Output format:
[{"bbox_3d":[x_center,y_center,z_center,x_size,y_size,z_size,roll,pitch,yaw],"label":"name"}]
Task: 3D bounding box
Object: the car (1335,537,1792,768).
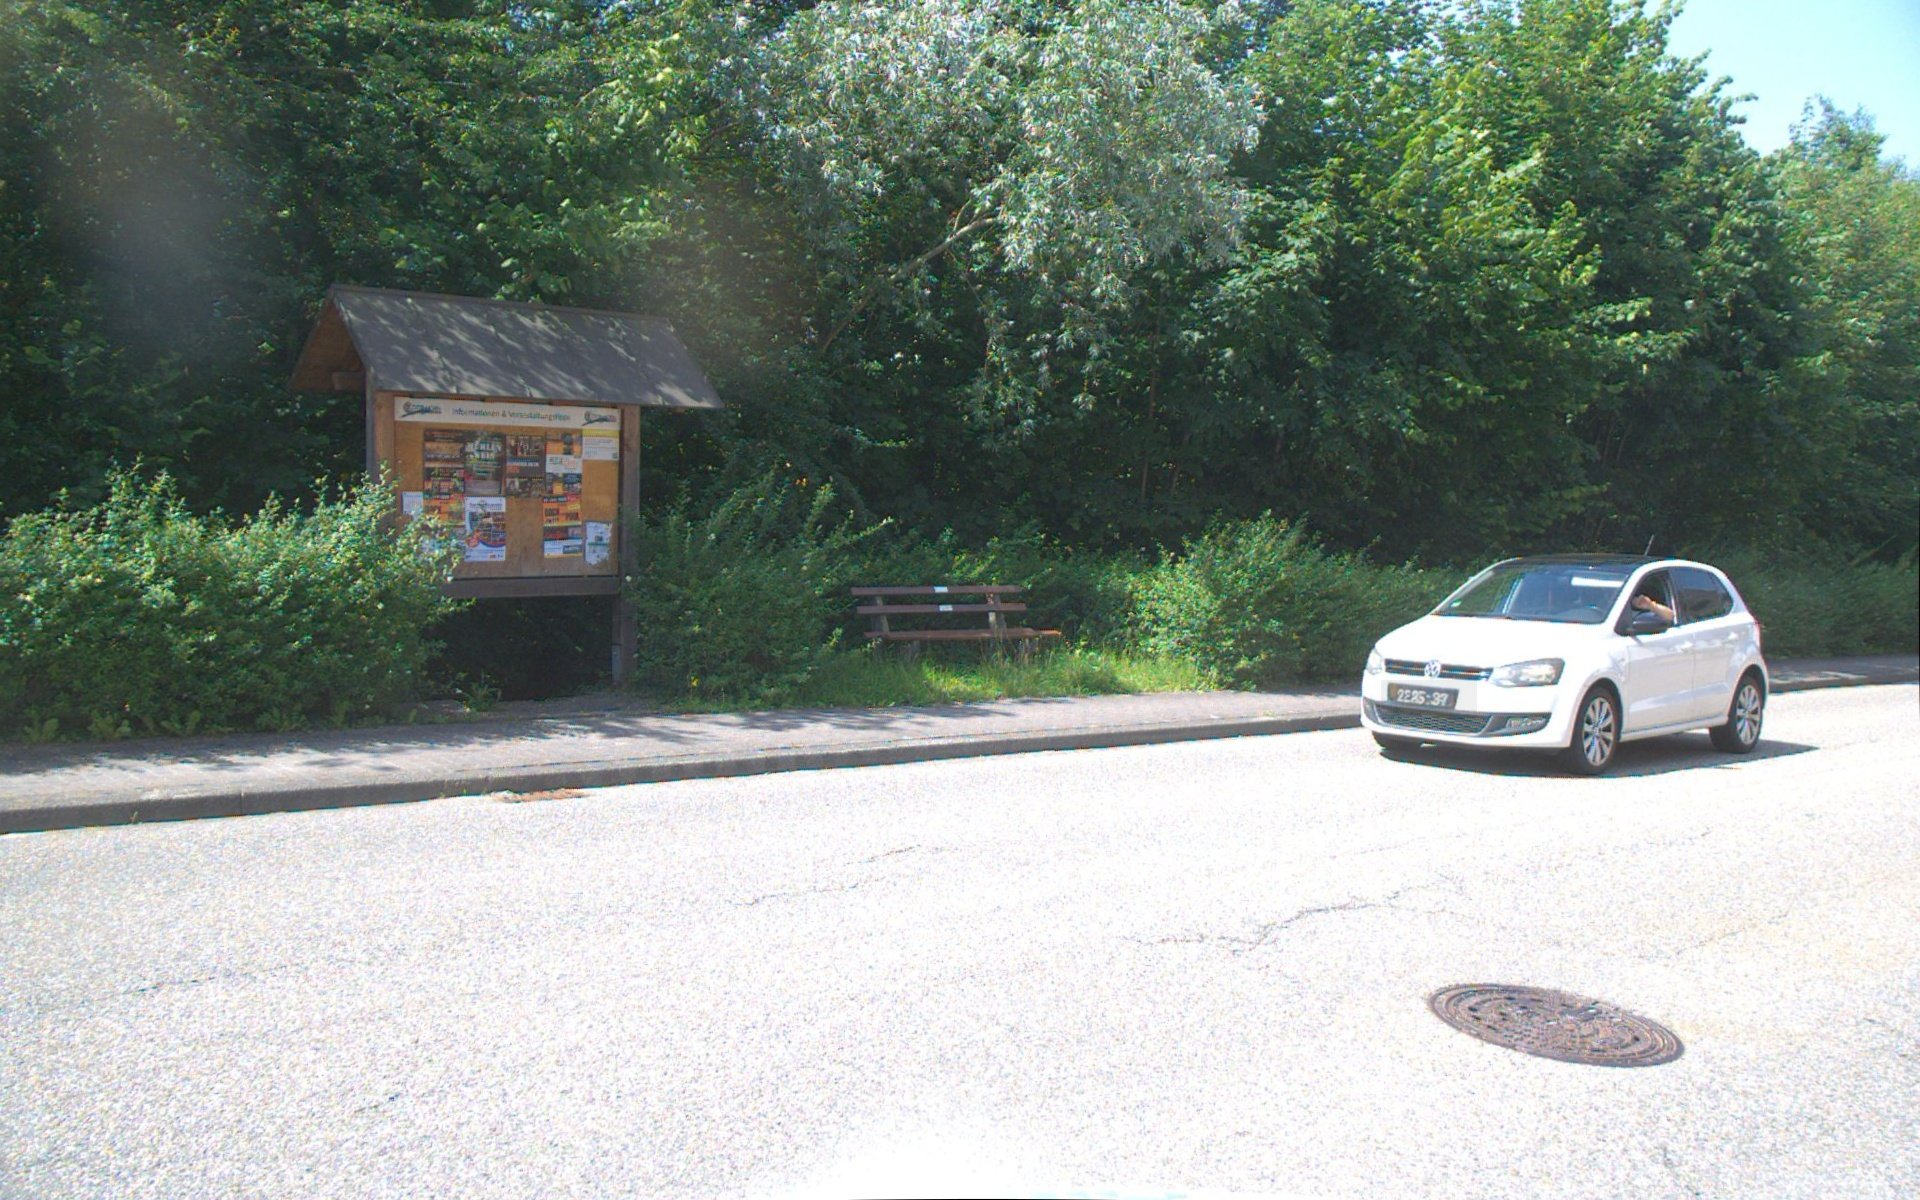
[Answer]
[{"bbox_3d":[4.540,0.336,12.183,3.795,1.430,1.585,1,1,-43],"label":"car"}]
